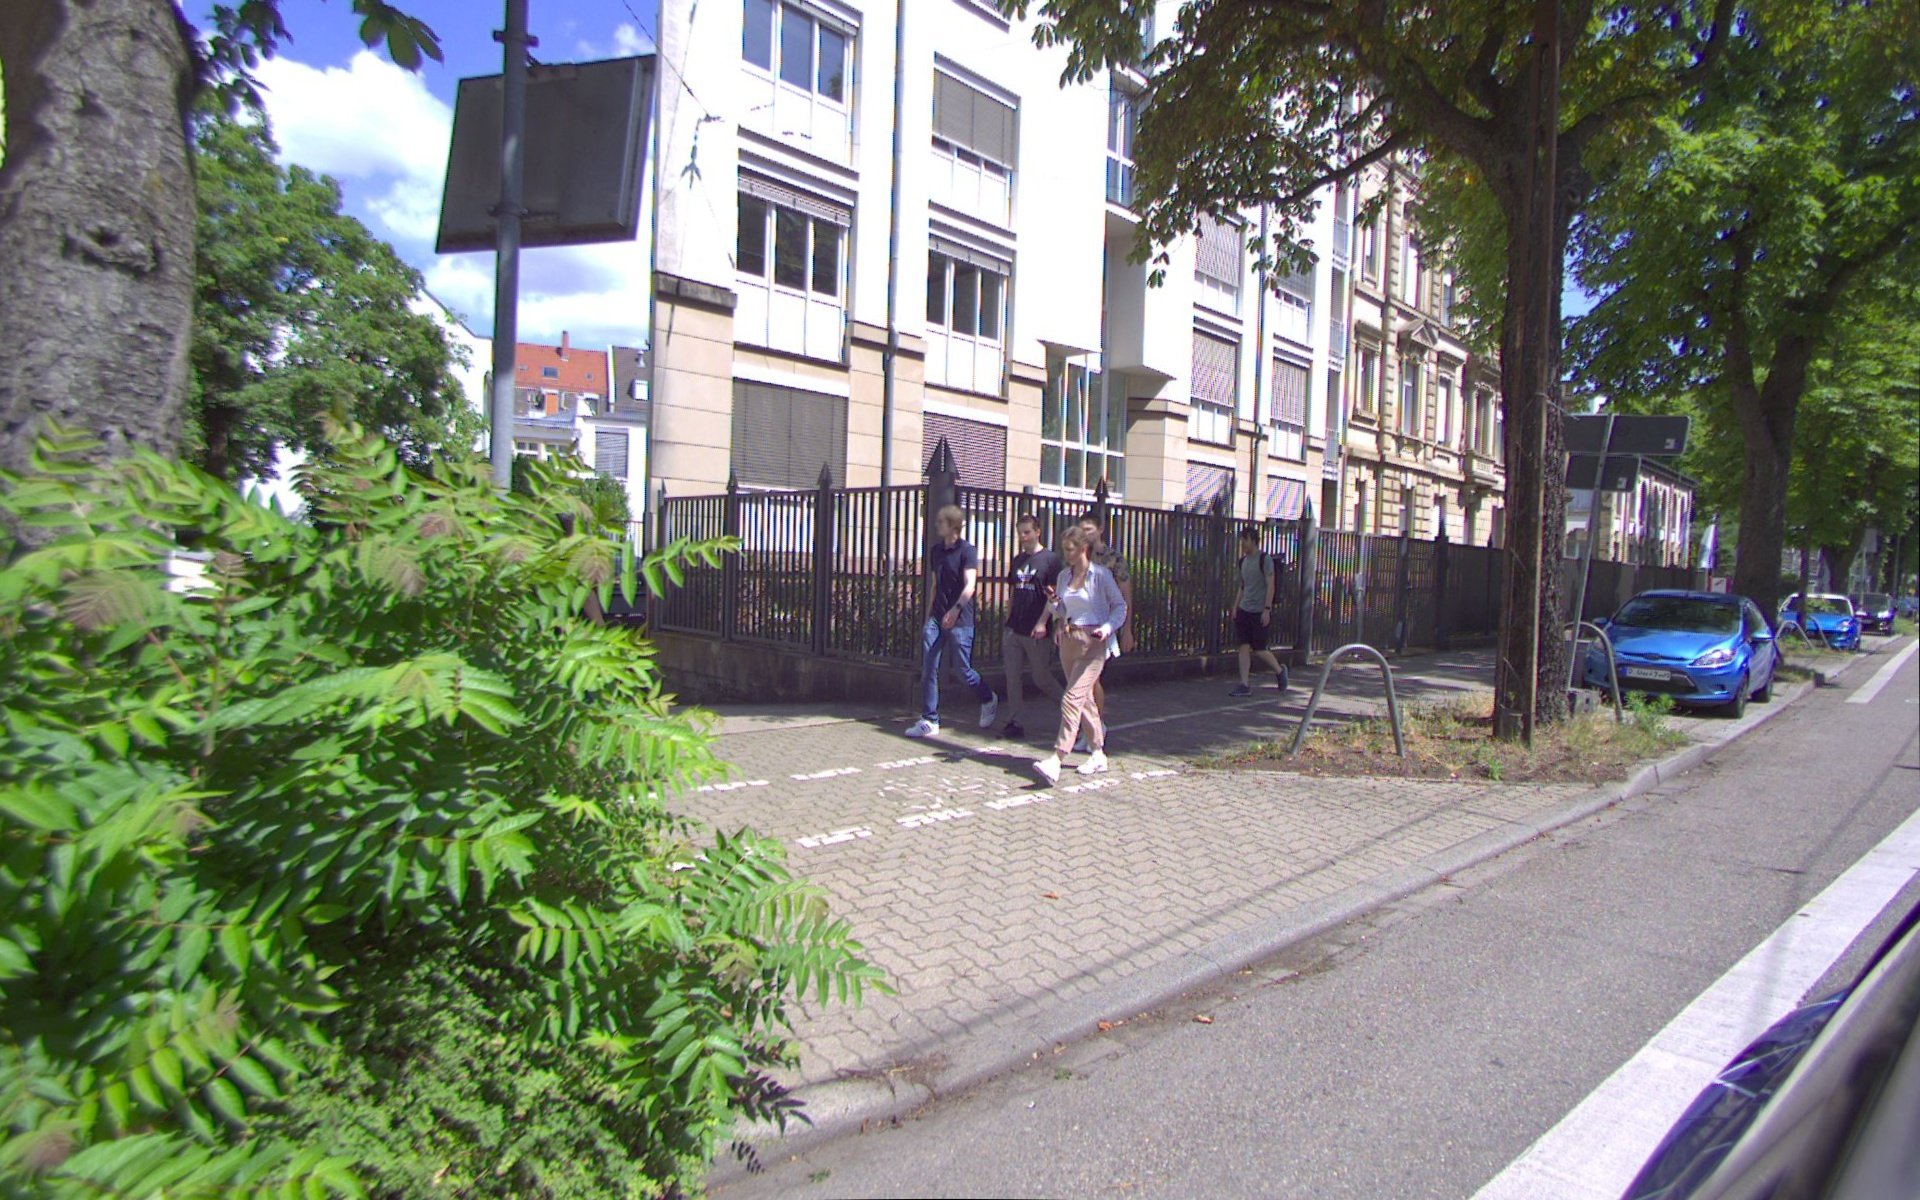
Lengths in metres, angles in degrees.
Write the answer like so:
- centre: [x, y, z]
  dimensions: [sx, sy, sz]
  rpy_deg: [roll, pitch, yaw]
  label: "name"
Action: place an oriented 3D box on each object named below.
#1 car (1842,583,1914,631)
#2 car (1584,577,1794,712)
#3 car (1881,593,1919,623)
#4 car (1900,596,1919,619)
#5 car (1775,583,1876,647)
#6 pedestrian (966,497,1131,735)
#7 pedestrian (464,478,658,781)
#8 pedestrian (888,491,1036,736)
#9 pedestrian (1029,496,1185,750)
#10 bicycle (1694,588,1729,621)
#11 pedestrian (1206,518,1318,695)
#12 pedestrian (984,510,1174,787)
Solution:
- centre: [35.569, 0.227, 39.169]
  dimensions: [4.017, 1.635, 1.732]
  rpy_deg: [0, 5, -44]
  label: "car"
- centre: [9.699, 0.486, 13.360]
  dimensions: [1.678, 1.461, 3.661]
  rpy_deg: [4, 3, 44]
  label: "car"
- centre: [51.166, 0.420, 54.816]
  dimensions: [3.761, 1.419, 1.624]
  rpy_deg: [0, 5, -45]
  label: "car"
- centre: [64.644, 0.514, 68.207]
  dimensions: [3.935, 1.419, 1.624]
  rpy_deg: [0, 5, -45]
  label: "car"
- centre: [22.388, 0.350, 26.145]
  dimensions: [1.692, 1.470, 3.418]
  rpy_deg: [4, 3, 44]
  label: "car"
- centre: [0.721, 0.104, 8.216]
  dimensions: [1.034, 1.783, 0.789]
  rpy_deg: [0, 2, -43]
  label: "pedestrian"
- centre: [-2.437, 0.140, 6.165]
  dimensions: [0.822, 1.666, 0.858]
  rpy_deg: [0, 3, -43]
  label: "pedestrian"
- centre: [0.023, 0.087, 8.152]
  dimensions: [0.961, 1.834, 0.661]
  rpy_deg: [0, 2, -45]
  label: "pedestrian"
- centre: [1.129, 0.143, 7.735]
  dimensions: [0.931, 1.798, 0.705]
  rpy_deg: [0, 2, -44]
  label: "pedestrian"
- centre: [26.196, 0.154, 35.268]
  dimensions: [1.947, 1.084, 0.608]
  rpy_deg: [0, 3, -43]
  label: "bicycle"
- centre: [3.288, 0.048, 10.993]
  dimensions: [1.066, 1.819, 0.685]
  rpy_deg: [0, 2, -45]
  label: "pedestrian"
- centre: [0.793, 0.273, 6.707]
  dimensions: [0.957, 1.671, 0.767]
  rpy_deg: [0, 2, -43]
  label: "pedestrian"
